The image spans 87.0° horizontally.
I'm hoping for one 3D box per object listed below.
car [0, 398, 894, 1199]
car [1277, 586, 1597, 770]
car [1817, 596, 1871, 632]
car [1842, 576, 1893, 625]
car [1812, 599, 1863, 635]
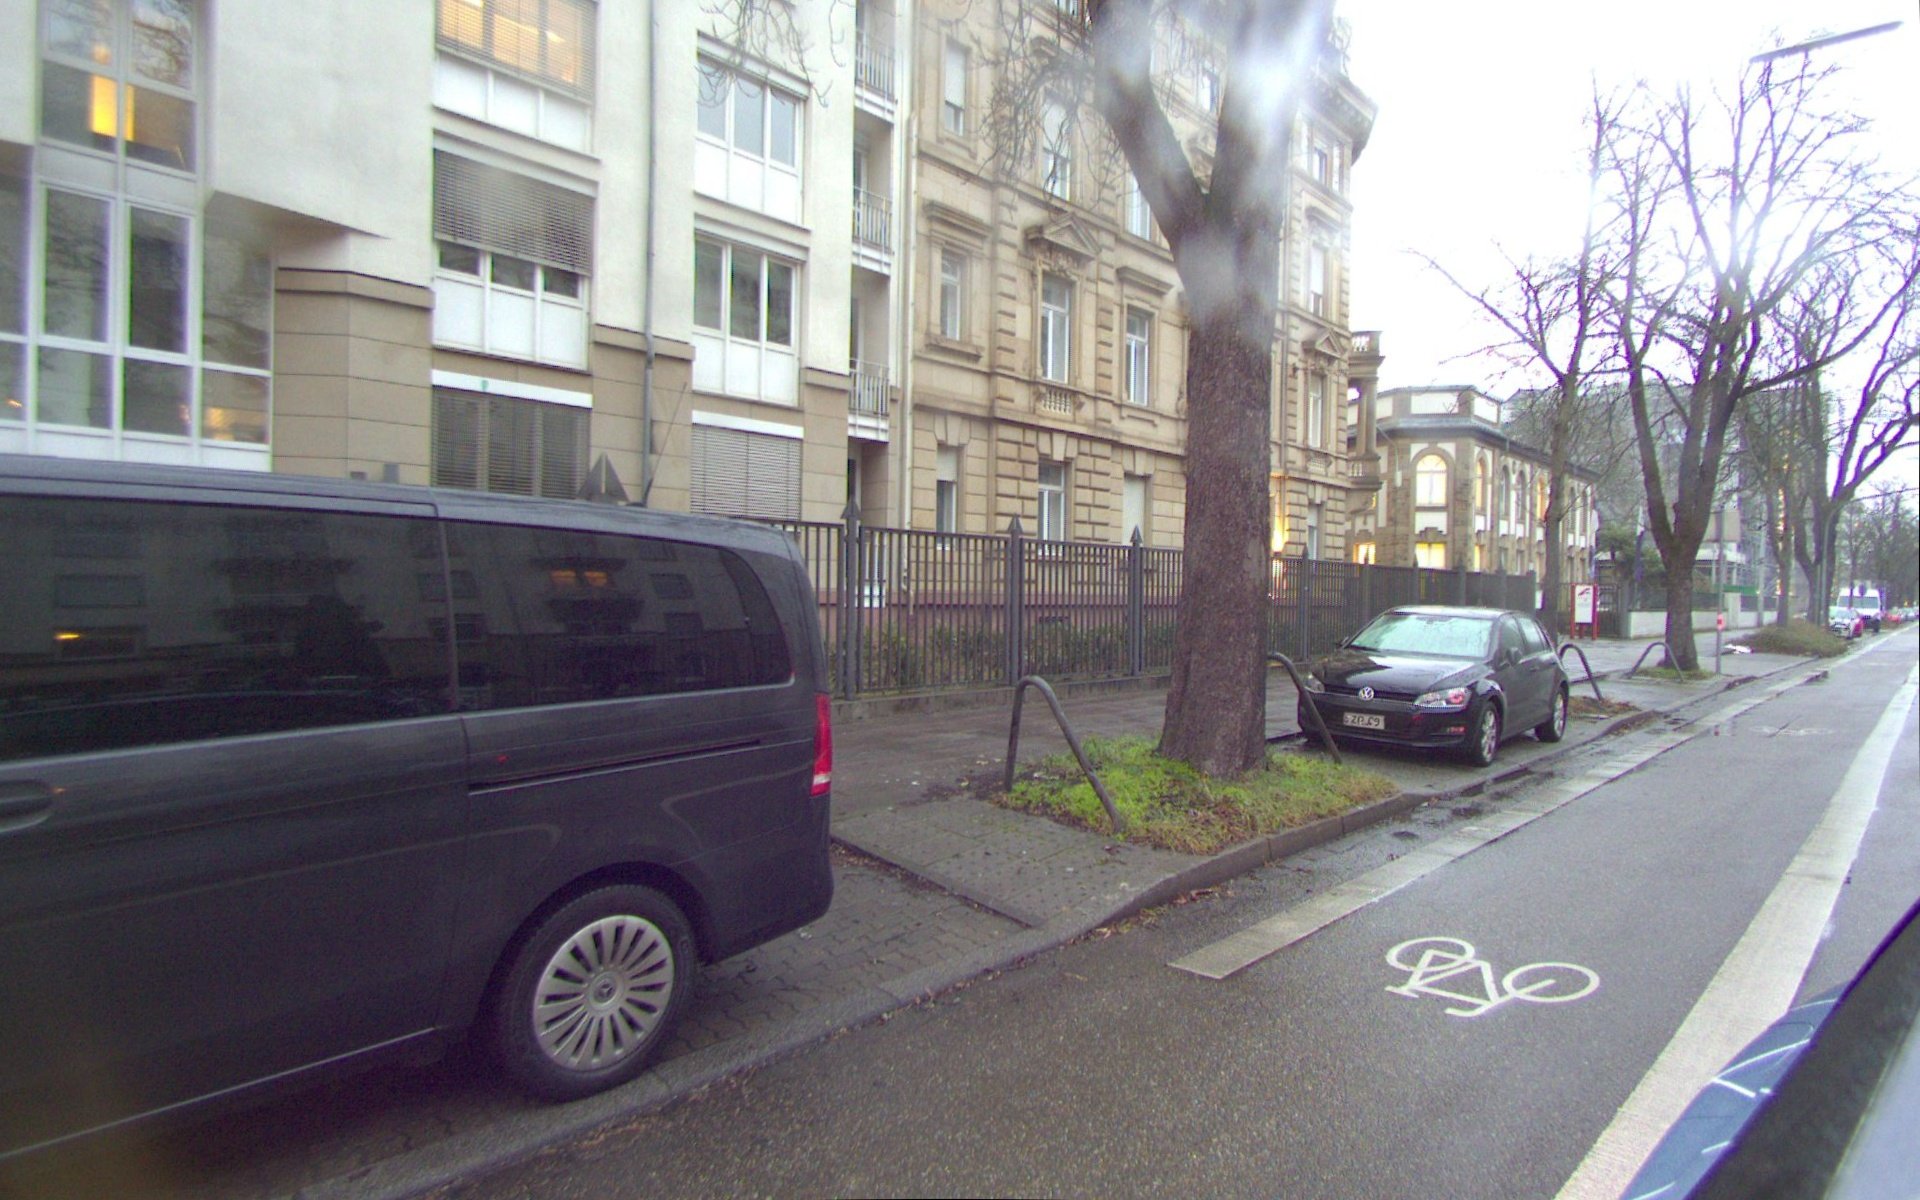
[{"bbox_3d":[-2.698,0.507,2.748,4.882,1.899,2.032,0,2,-45],"label":"car"},{"bbox_3d":[5.126,0.667,10.595,1.758,1.463,4.091,4,2,44],"label":"car"},{"bbox_3d":[44.937,0.693,51.415,1.992,1.703,3.939,0,1,42],"label":"car"},{"bbox_3d":[52.105,0.004,58.139,2.086,2.670,5.367,0,1,42],"label":"car"},{"bbox_3d":[38.224,0.702,44.062,1.623,1.425,3.939,0,1,42],"label":"car"}]
